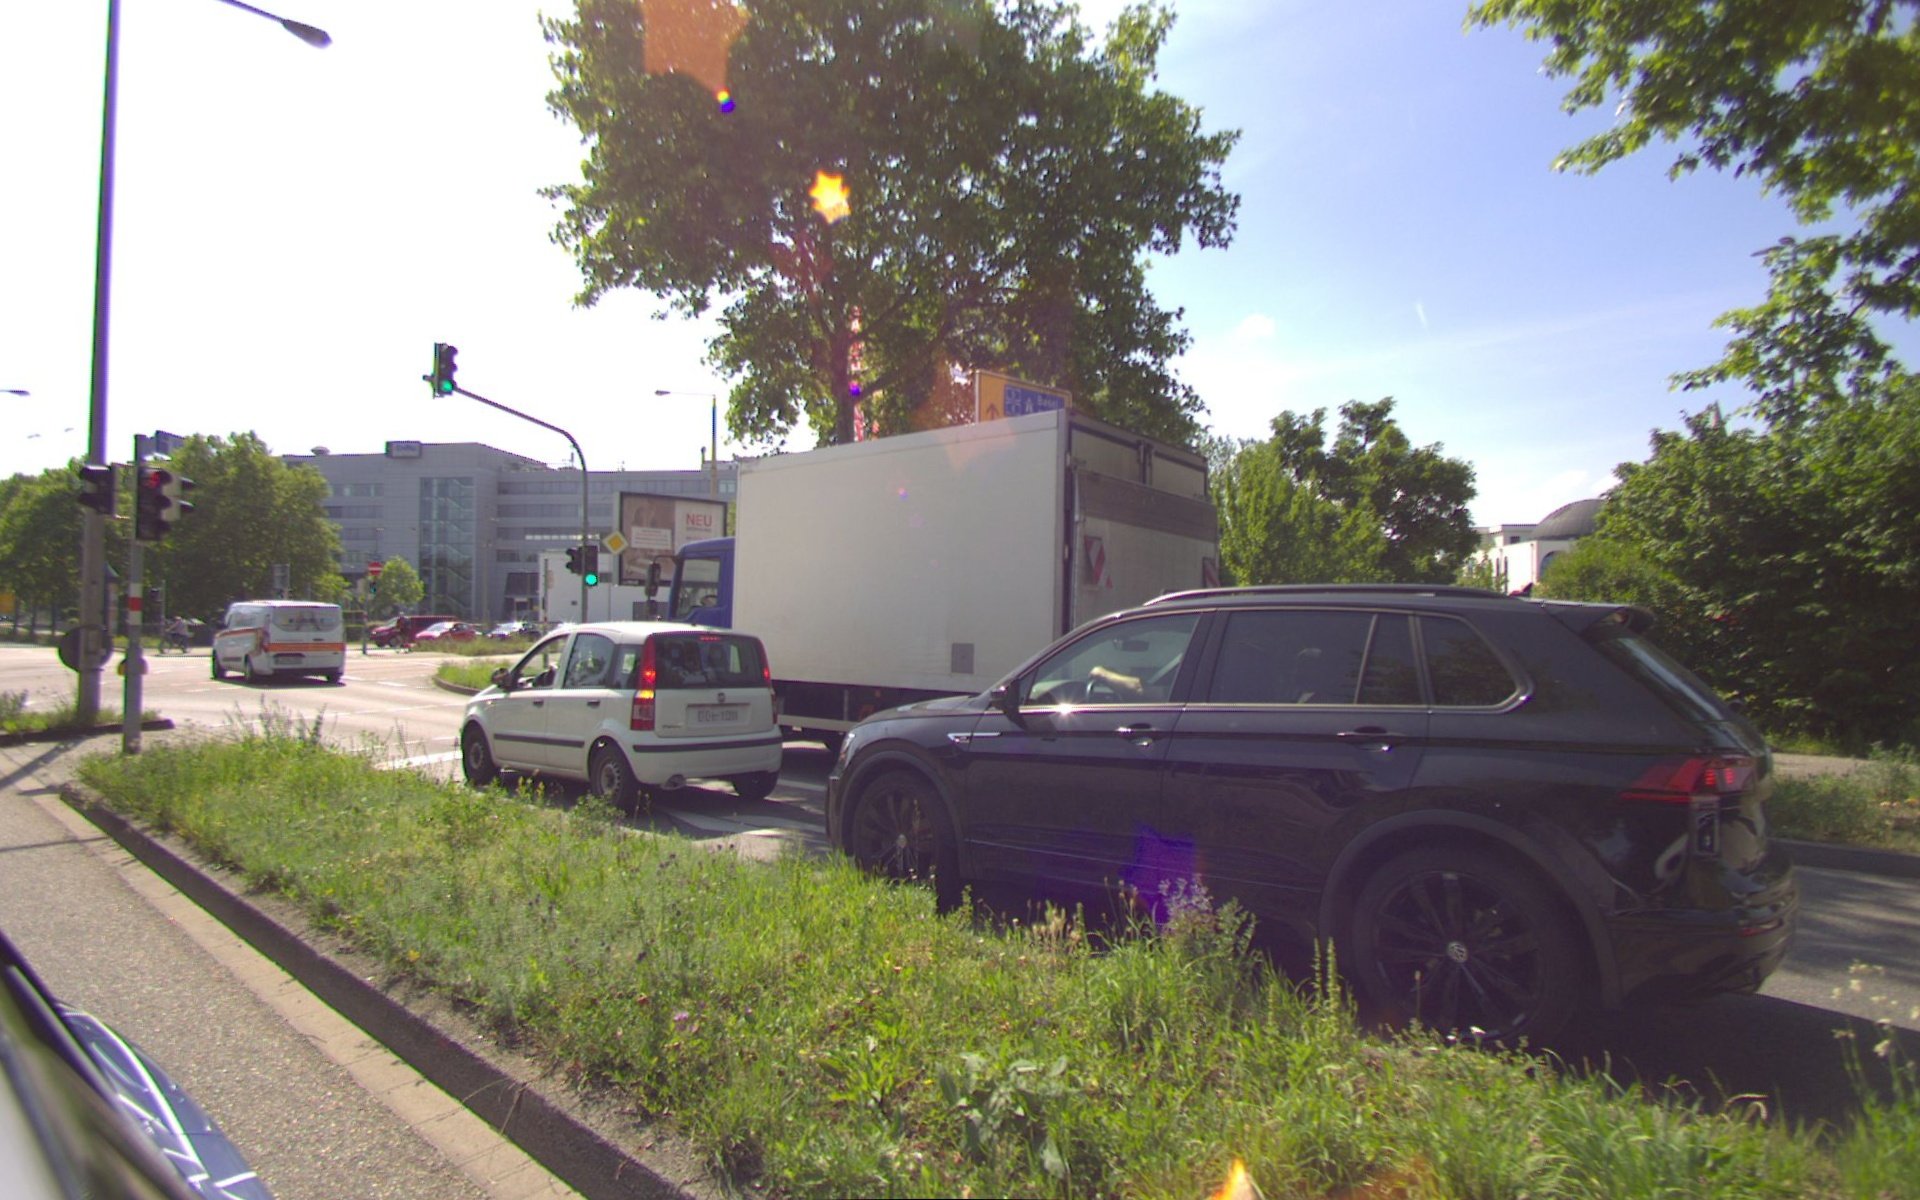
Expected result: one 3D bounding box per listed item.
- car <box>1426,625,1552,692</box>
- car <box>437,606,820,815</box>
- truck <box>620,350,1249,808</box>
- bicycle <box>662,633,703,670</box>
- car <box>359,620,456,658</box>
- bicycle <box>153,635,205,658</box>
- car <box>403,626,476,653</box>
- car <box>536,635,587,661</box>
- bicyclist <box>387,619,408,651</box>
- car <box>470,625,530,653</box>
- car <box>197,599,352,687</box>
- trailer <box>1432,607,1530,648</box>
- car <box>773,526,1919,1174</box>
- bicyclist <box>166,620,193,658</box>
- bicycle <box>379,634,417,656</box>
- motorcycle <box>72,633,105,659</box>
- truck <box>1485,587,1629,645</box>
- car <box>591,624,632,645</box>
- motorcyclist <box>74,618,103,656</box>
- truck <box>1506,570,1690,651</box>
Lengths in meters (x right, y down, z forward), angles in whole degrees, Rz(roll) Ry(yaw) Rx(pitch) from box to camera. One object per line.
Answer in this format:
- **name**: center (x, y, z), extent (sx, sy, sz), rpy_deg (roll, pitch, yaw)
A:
- **car**: center (12.747, 1.327, 24.245), extent (2.195, 1.425, 4.524), rpy_deg (-1, -2, 34)
- **car**: center (-3.085, 0.853, 9.067), extent (3.728, 1.488, 1.576), rpy_deg (-1, -3, 41)
- **truck**: center (-0.603, -0.034, 10.972), extent (6.688, 3.498, 2.774), rpy_deg (-2, -4, 41)
- **bicycle**: center (-8.262, 1.525, 30.064), extent (0.586, 1.045, 1.900), rpy_deg (1, -2, -34)
- **car**: center (-35.092, 2.449, 64.399), extent (2.148, 2.295, 4.980), rpy_deg (-1, -2, 36)
- **bicycle**: center (-38.147, 2.246, 49.468), extent (0.520, 1.072, 2.157), rpy_deg (0, -2, 12)
- **car**: center (-29.293, 2.223, 57.112), extent (1.824, 1.460, 3.993), rpy_deg (0, -2, 5)
- **car**: center (-27.655, 3.293, 70.344), extent (1.972, 1.712, 4.000), rpy_deg (0, -2, 0)
- **bicyclist**: center (-24.703, 1.536, 44.440), extent (0.605, 1.425, 0.526), rpy_deg (0, -2, 20)
- **car**: center (-28.938, 2.454, 63.753), extent (1.972, 1.712, 4.000), rpy_deg (0, -2, 0)
- **car**: center (-17.411, 1.081, 25.603), extent (5.029, 2.015, 1.955), rpy_deg (-1, -4, 41)
- **trailer**: center (33.767, 1.800, 66.021), extent (2.891, 2.509, 8.193), rpy_deg (0, -1, 6)
- **car**: center (1.311, 0.670, 4.842), extent (4.692, 1.659, 1.801), rpy_deg (0, -2, 41)
- **bicyclist**: center (-38.153, 1.904, 49.486), extent (0.698, 1.802, 0.765), rpy_deg (0, -2, 12)
- **bicycle**: center (-24.689, 1.965, 44.458), extent (1.739, 0.945, 0.432), rpy_deg (0, -2, 21)
- **motorcycle**: center (-34.558, 1.801, 40.119), extent (2.216, 0.999, 0.680), rpy_deg (-1, -2, 41)
- **truck**: center (32.711, 0.945, 56.071), extent (2.889, 2.914, 9.600), rpy_deg (0, -1, 4)
- **car**: center (-28.455, 2.822, 82.789), extent (1.972, 1.712, 4.000), rpy_deg (0, -2, 0)
- **motorcyclist**: center (-34.465, 1.469, 40.022), extent (0.987, 1.481, 0.735), rpy_deg (-1, -2, 41)
- **truck**: center (28.718, 0.567, 46.209), extent (3.119, 3.337, 8.914), rpy_deg (0, -1, 4)
